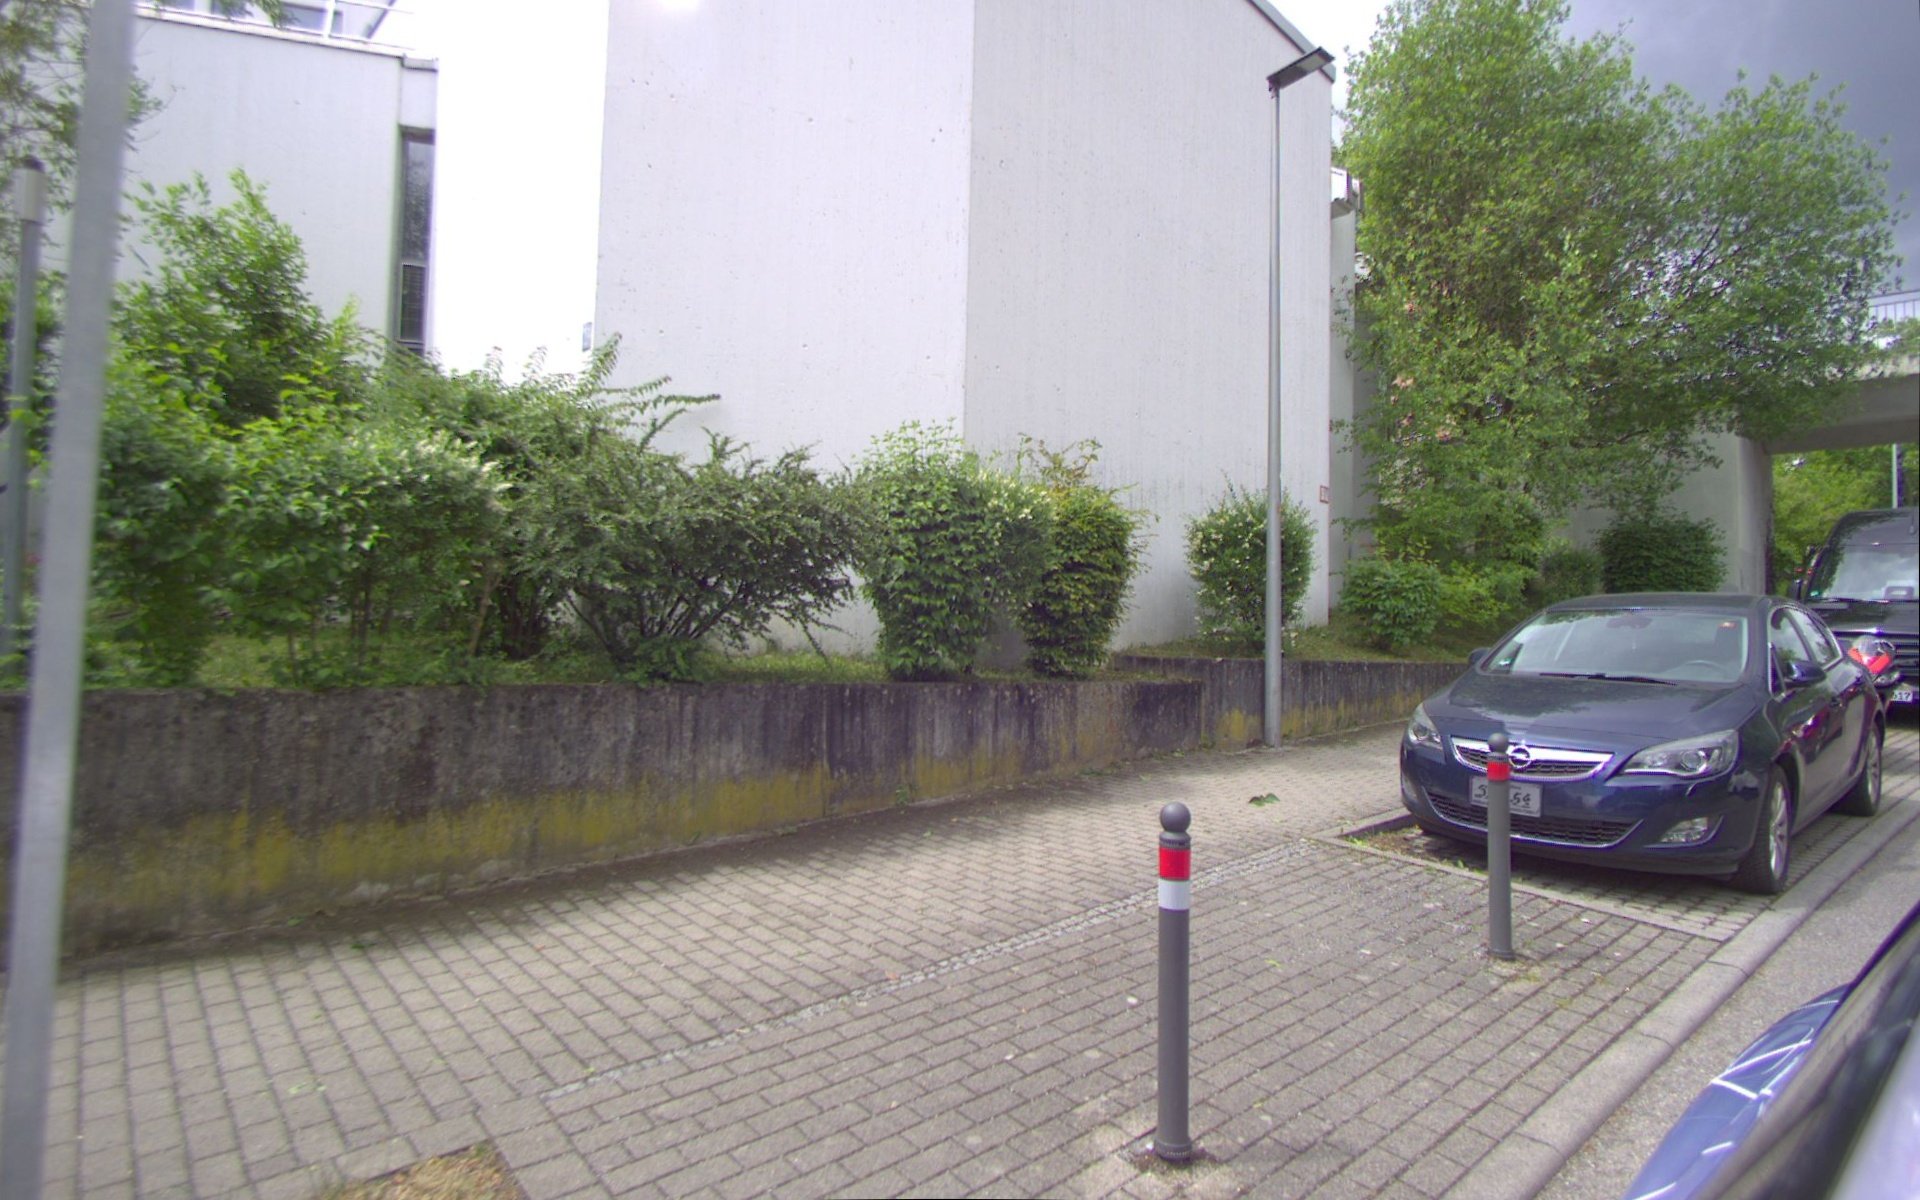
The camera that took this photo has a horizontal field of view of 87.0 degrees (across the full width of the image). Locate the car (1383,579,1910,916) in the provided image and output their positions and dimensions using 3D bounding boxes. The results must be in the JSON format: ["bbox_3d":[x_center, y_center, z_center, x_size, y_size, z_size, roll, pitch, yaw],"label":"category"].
[{"bbox_3d":[4.391,0.601,6.237,3.929,1.438,1.694,-1,1,-40],"label":"car"}]

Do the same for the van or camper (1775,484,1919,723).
[{"bbox_3d":[12.226,-0.011,12.597,5.653,2.526,1.999,-1,1,-38],"label":"van or camper"}]

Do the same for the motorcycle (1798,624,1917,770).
[{"bbox_3d":[7.905,0.788,8.977,0.706,1.081,1.903,-1,1,39],"label":"motorcycle"}]
